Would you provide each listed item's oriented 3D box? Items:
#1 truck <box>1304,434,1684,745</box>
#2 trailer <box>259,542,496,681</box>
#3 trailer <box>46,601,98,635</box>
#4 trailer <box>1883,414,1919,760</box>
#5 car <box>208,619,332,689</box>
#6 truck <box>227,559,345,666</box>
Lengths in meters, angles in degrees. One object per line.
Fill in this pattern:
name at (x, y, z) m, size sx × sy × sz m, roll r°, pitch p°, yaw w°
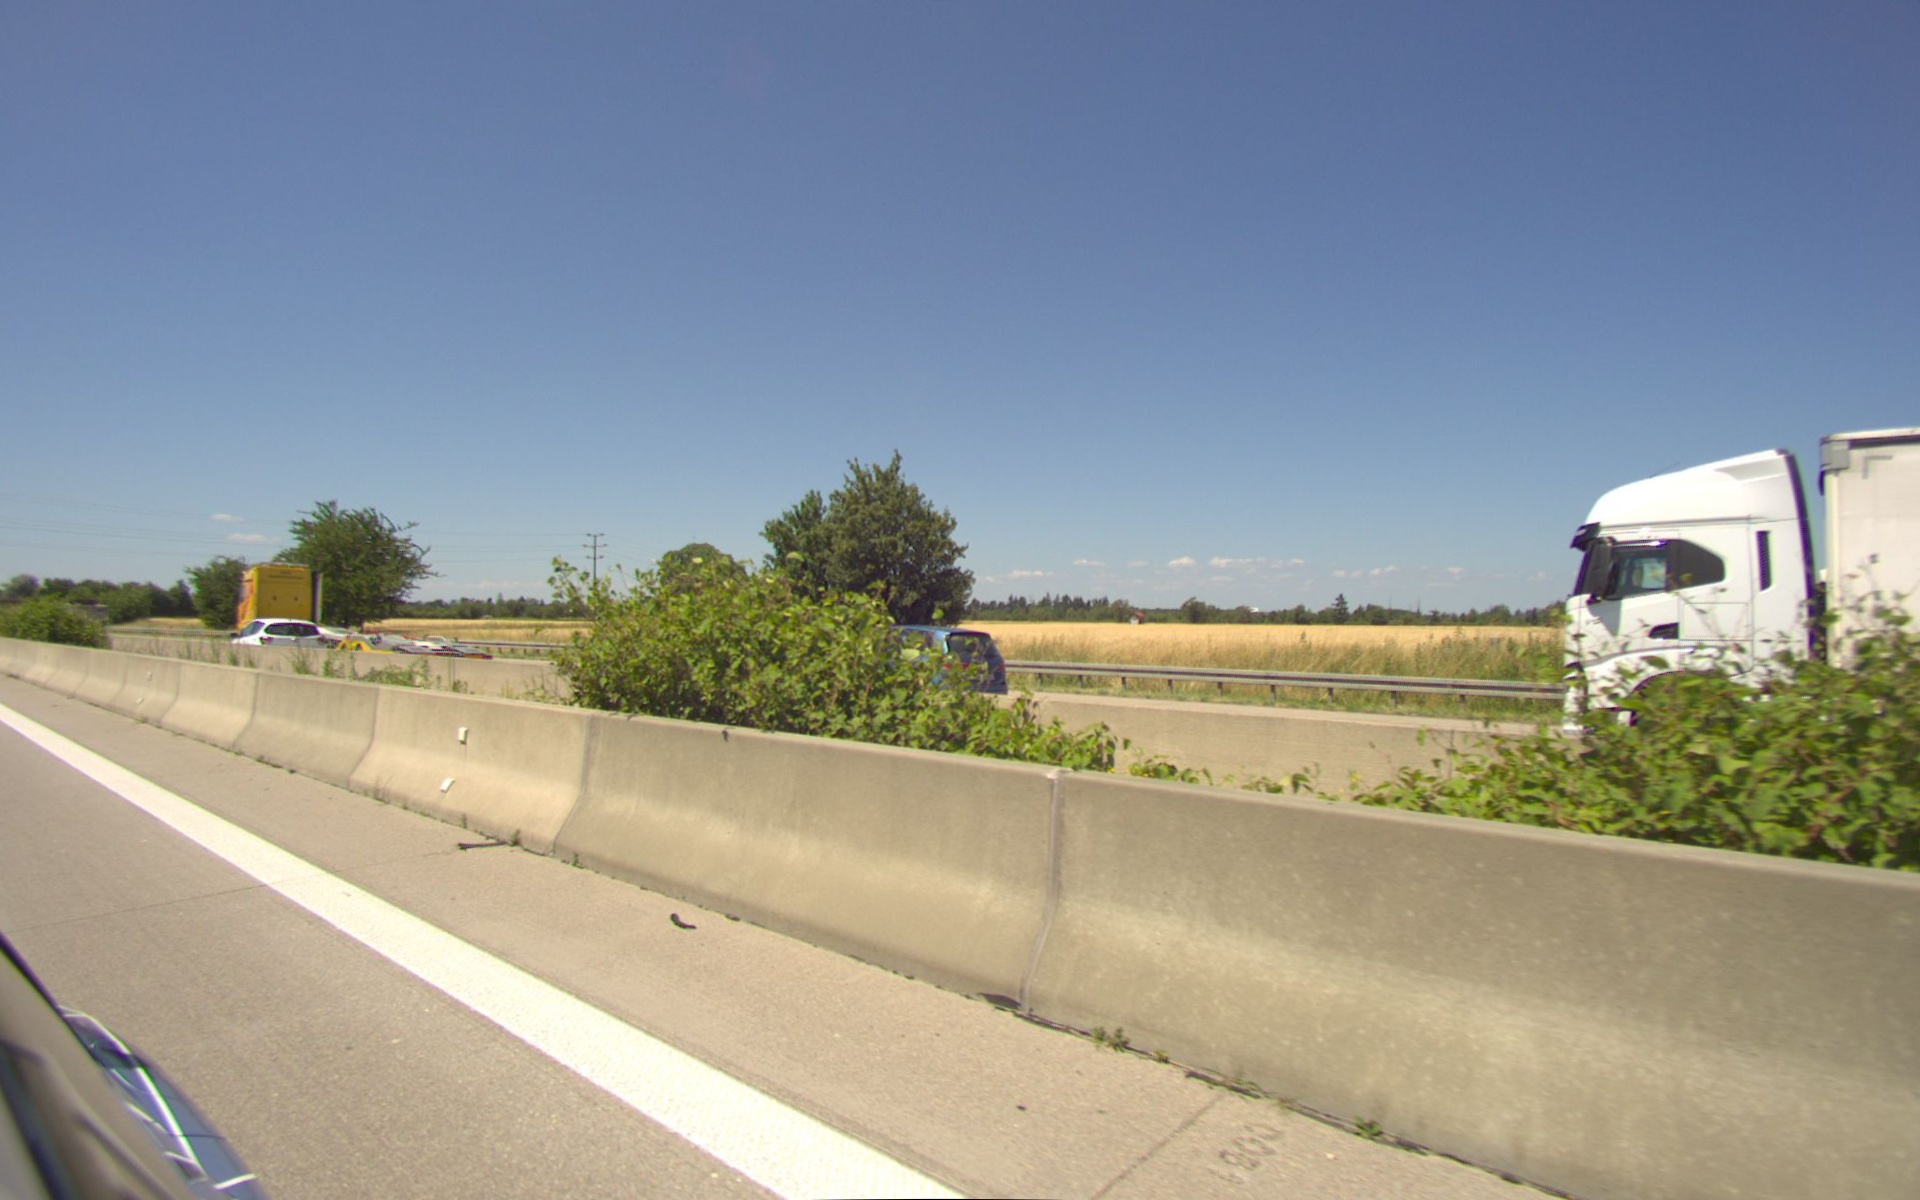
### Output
truck at (7.864, -0.117, 15.062) m, size 4.449 × 3.868 × 2.741 m, roll -1°, pitch 0°, yaw 41°
trailer at (-20.990, 0.432, 35.687) m, size 14.607 × 4.070 × 2.747 m, roll -1°, pitch 0°, yaw 42°
trailer at (-92.452, 1.902, 105.314) m, size 9.458 × 3.329 × 2.799 m, roll -1°, pitch 0°, yaw 41°
trailer at (16.586, -0.264, 7.811) m, size 13.821 × 3.831 × 2.741 m, roll -1°, pitch 0°, yaw 41°
car at (-19.505, 1.467, 28.544) m, size 4.711 × 1.817 × 1.688 m, roll -1°, pitch -2°, yaw 40°
truck at (-27.883, 0.517, 41.803) m, size 5.538 × 4.111 × 2.715 m, roll -1°, pitch 0°, yaw 41°
